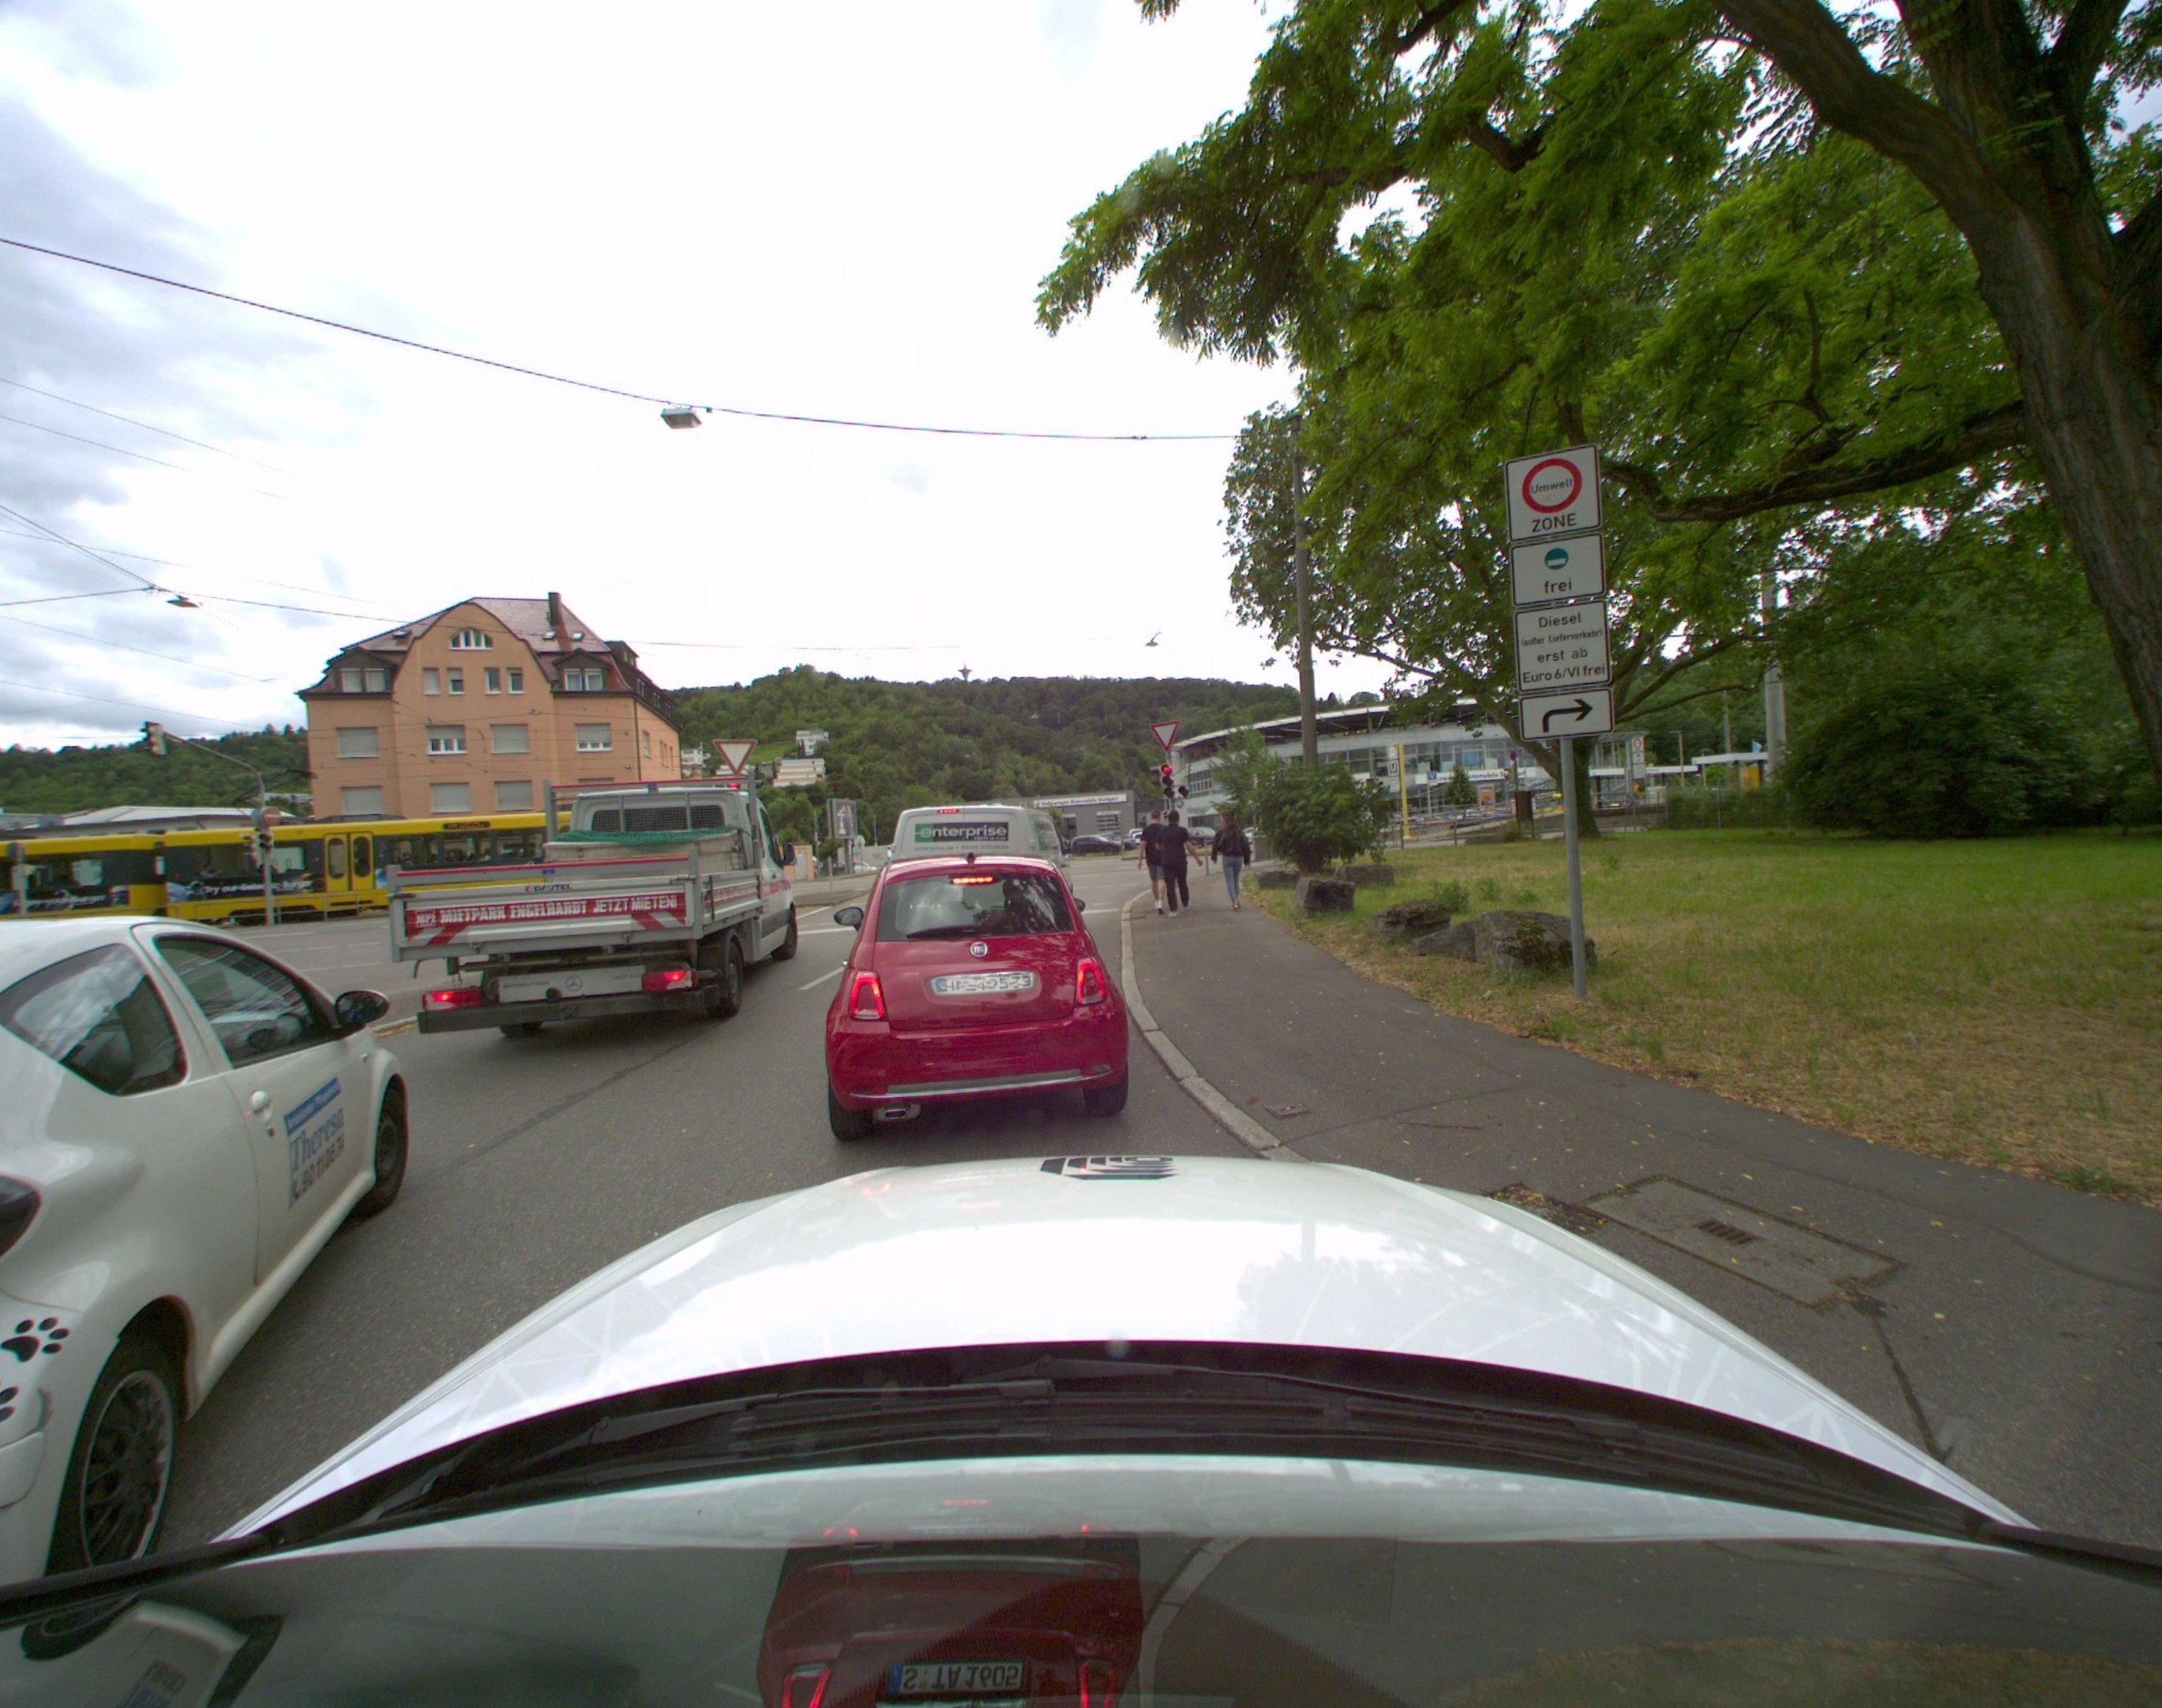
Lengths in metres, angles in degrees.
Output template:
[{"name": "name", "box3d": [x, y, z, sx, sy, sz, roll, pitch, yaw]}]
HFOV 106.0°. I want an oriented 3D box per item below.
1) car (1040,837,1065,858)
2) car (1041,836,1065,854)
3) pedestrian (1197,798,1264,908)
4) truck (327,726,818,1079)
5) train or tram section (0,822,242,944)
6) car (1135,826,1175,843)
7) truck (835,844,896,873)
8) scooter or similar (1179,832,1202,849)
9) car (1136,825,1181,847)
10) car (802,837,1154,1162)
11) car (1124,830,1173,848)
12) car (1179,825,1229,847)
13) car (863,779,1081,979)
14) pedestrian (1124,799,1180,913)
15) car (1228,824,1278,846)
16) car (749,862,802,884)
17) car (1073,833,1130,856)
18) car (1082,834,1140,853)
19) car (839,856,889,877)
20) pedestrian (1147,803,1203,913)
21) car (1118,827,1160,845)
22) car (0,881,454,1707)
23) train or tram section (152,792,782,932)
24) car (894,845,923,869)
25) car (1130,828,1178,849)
[{"name": "car", "box3d": [-2.720, -0.622, 79.110, 1.985, 1.815, 4.004, -4, 1, 3]}, {"name": "car", "box3d": [-2.688, -0.881, 79.080, 1.761, 1.533, 4.096, -4, 1, 5]}, {"name": "pedestrian", "box3d": [2.474, -0.023, 13.546, 0.695, 1.739, 0.784, -4, 1, -17]}, {"name": "truck", "box3d": [-4.620, 0.293, 8.951, 2.423, 2.397, 6.006, -4, 1, -11]}, {"name": "train or tram section", "box3d": [-40.393, 1.420, 27.009, 19.106, 3.665, 3.268, -4, 1, -9]}, {"name": "car", "box3d": [9.192, -2.390, 101.131, 4.774, 1.802, 1.778, -4, 1, 4]}, {"name": "truck", "box3d": [-20.289, 0.405, 76.765, 5.211, 2.393, 1.983, -4, 1, -26]}, {"name": "scooter or similar", "box3d": [8.393, -1.042, 62.294, 1.658, 1.177, 0.469, -4, 1, 9]}, {"name": "car", "box3d": [8.457, -1.969, 89.164, 4.774, 2.156, 2.237, -4, 1, 4]}, {"name": "car", "box3d": [-0.735, 0.675, 5.685, 1.638, 1.456, 3.420, -3, 1, -9]}, {"name": "car", "box3d": [6.711, -1.495, 81.129, 4.774, 1.533, 1.778, -4, 1, 4]}, {"name": "car", "box3d": [9.774, -1.404, 64.944, 1.782, 1.500, 3.843, -4, 1, -31]}, {"name": "car", "box3d": [-1.225, 0.233, 11.514, 1.981, 2.106, 4.767, -4, 1, 4]}, {"name": "pedestrian", "box3d": [1.226, 0.025, 13.976, 0.688, 1.857, 0.792, -4, 1, 15]}, {"name": "car", "box3d": [14.066, -1.544, 66.719, 1.781, 1.500, 3.984, -4, 1, -29]}, {"name": "car", "box3d": [-26.790, 1.637, 71.558, 4.218, 1.533, 1.763, -4, 1, -20]}, {"name": "car", "box3d": [1.530, -0.716, 61.541, 3.837, 1.500, 1.784, -3, 1, 18]}, {"name": "car", "box3d": [2.634, -0.918, 70.669, 4.636, 1.327, 1.783, -4, 1, 15]}, {"name": "car", "box3d": [-19.588, 1.094, 73.640, 4.209, 1.533, 1.767, -4, 1, -14]}, {"name": "pedestrian", "box3d": [1.551, 0.055, 13.382, 0.688, 1.714, 0.792, -4, 1, 15]}, {"name": "car", "box3d": [6.822, -2.103, 96.291, 4.774, 1.802, 1.778, -4, 1, 4]}, {"name": "car", "box3d": [-3.281, 0.883, 2.446, 1.649, 1.432, 3.398, -5, 1, -30]}, {"name": "train or tram section", "box3d": [-21.785, 0.102, 30.841, 19.133, 3.665, 3.263, -4, 1, -13]}, {"name": "car", "box3d": [-14.544, 0.222, 68.945, 1.858, 1.817, 4.392, -4, 1, -7]}, {"name": "car", "box3d": [7.551, -1.642, 84.241, 4.774, 1.802, 1.778, -4, 1, 4]}]
